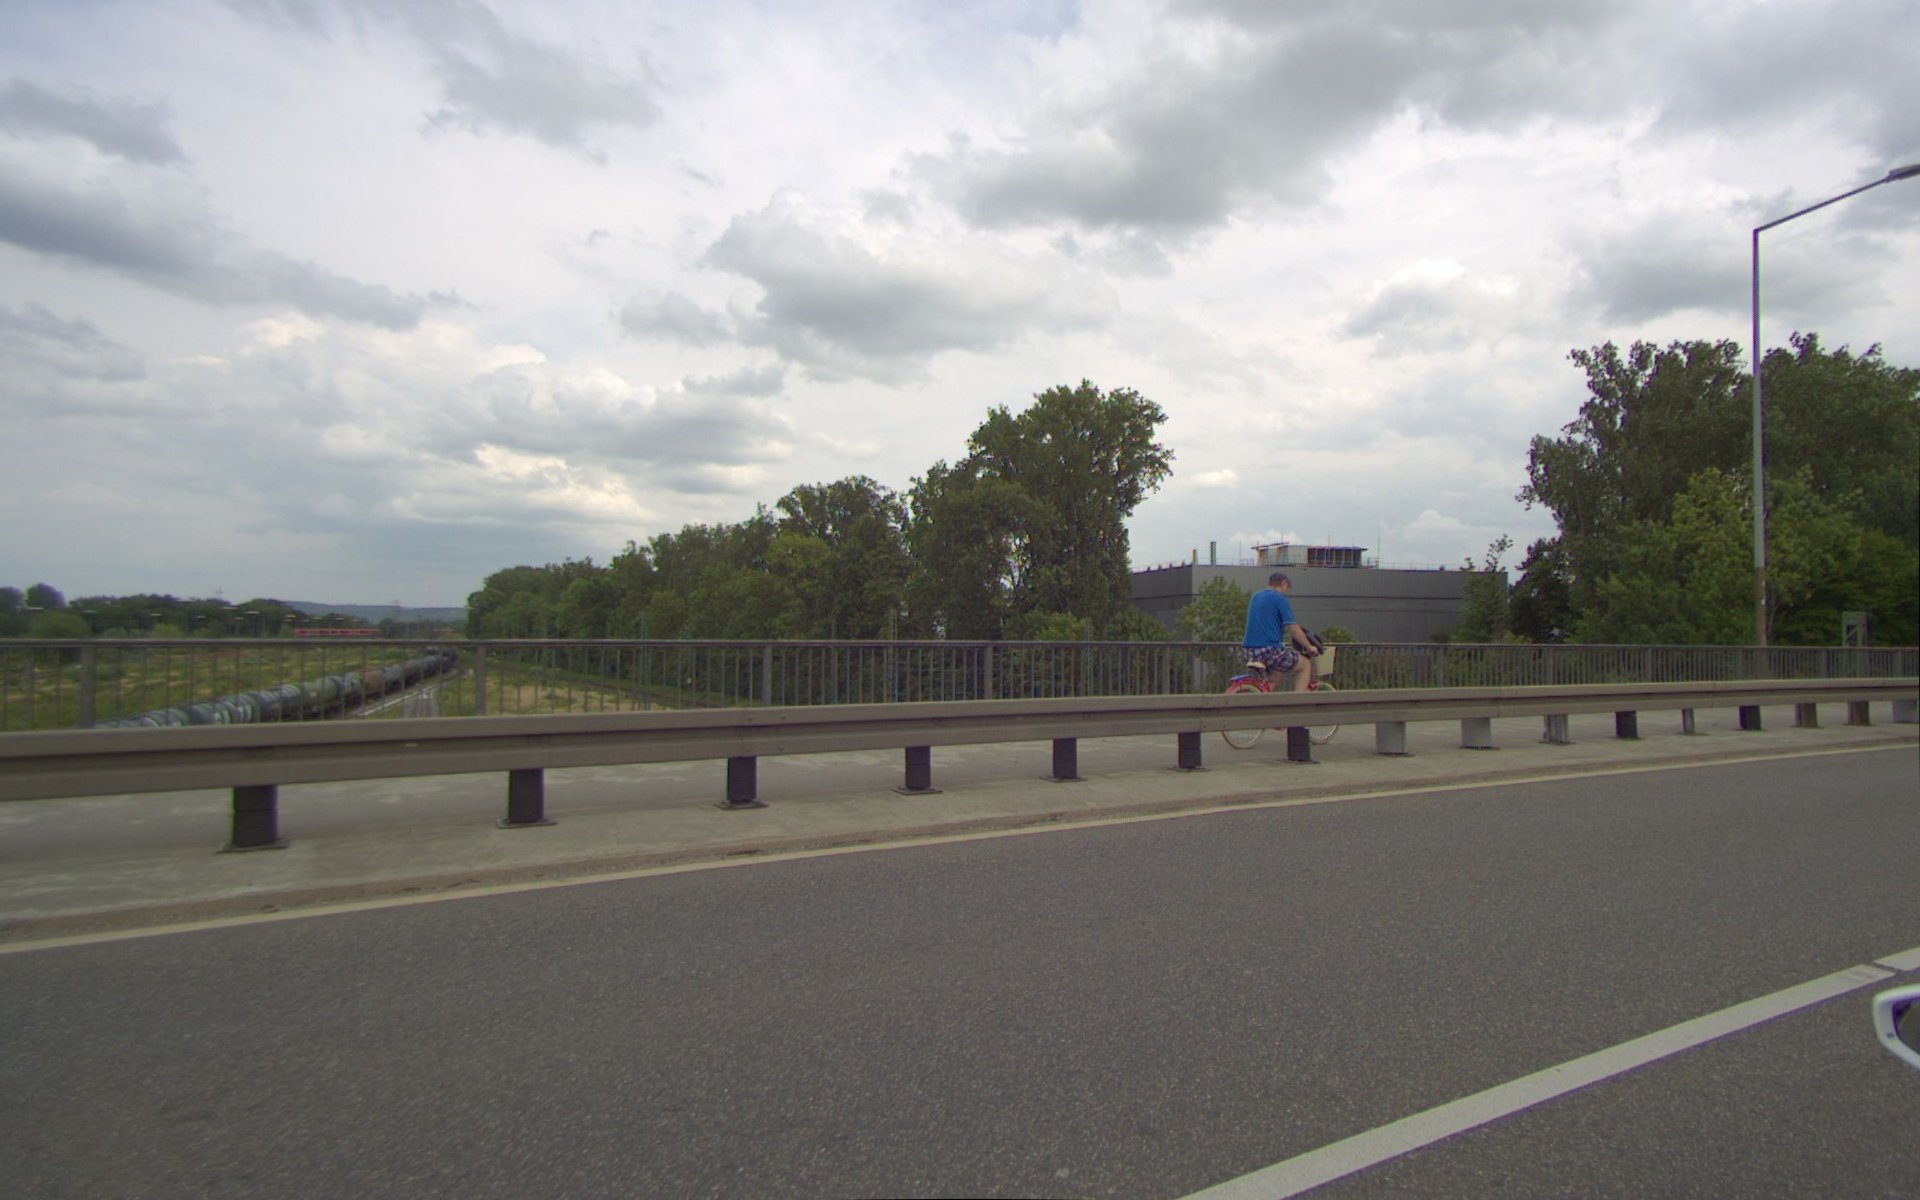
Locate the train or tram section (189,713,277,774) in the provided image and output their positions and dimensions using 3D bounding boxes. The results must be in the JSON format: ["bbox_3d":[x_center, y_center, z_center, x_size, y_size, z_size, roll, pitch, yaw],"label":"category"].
[{"bbox_3d":[-58.066,11.304,80.578,2.051,4.147,12.713,2,-5,-20],"label":"train or tram section"}]

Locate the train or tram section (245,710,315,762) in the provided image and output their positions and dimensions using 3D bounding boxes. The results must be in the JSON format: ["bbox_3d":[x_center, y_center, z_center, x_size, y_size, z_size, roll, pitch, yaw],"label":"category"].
[{"bbox_3d":[-62.380,12.342,92.495,2.051,4.147,12.713,2,-5,-20],"label":"train or tram section"}]

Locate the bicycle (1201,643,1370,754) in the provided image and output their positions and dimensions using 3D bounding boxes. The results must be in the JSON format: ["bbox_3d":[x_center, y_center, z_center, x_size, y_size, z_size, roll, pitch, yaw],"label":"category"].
[{"bbox_3d":[3.367,0.988,10.345,1.786,1.059,0.491,2,0,-26],"label":"bicycle"}]

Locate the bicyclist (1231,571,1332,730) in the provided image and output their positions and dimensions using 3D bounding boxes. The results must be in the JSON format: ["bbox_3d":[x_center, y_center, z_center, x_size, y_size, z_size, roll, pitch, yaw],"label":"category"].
[{"bbox_3d":[3.291,0.501,10.315,0.747,1.560,0.608,1,0,-26],"label":"bicyclist"}]

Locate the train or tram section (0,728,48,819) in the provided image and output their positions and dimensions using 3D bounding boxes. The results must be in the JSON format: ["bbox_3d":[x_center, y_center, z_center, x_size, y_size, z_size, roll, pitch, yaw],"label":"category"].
[{"bbox_3d":[-45.306,8.005,44.769,1.969,4.147,12.714,2,-5,-20],"label":"train or tram section"}]

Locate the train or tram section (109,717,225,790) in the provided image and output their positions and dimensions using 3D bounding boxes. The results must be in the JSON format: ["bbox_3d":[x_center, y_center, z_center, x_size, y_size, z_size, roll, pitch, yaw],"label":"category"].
[{"bbox_3d":[-53.828,10.265,68.636,2.068,4.147,12.713,2,-5,-20],"label":"train or tram section"}]

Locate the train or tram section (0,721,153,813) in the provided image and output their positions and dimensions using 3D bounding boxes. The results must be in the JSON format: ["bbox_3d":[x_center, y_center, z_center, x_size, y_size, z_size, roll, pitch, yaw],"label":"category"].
[{"bbox_3d":[-49.547,9.132,56.674,1.969,4.147,12.713,2,-5,-20],"label":"train or tram section"}]
